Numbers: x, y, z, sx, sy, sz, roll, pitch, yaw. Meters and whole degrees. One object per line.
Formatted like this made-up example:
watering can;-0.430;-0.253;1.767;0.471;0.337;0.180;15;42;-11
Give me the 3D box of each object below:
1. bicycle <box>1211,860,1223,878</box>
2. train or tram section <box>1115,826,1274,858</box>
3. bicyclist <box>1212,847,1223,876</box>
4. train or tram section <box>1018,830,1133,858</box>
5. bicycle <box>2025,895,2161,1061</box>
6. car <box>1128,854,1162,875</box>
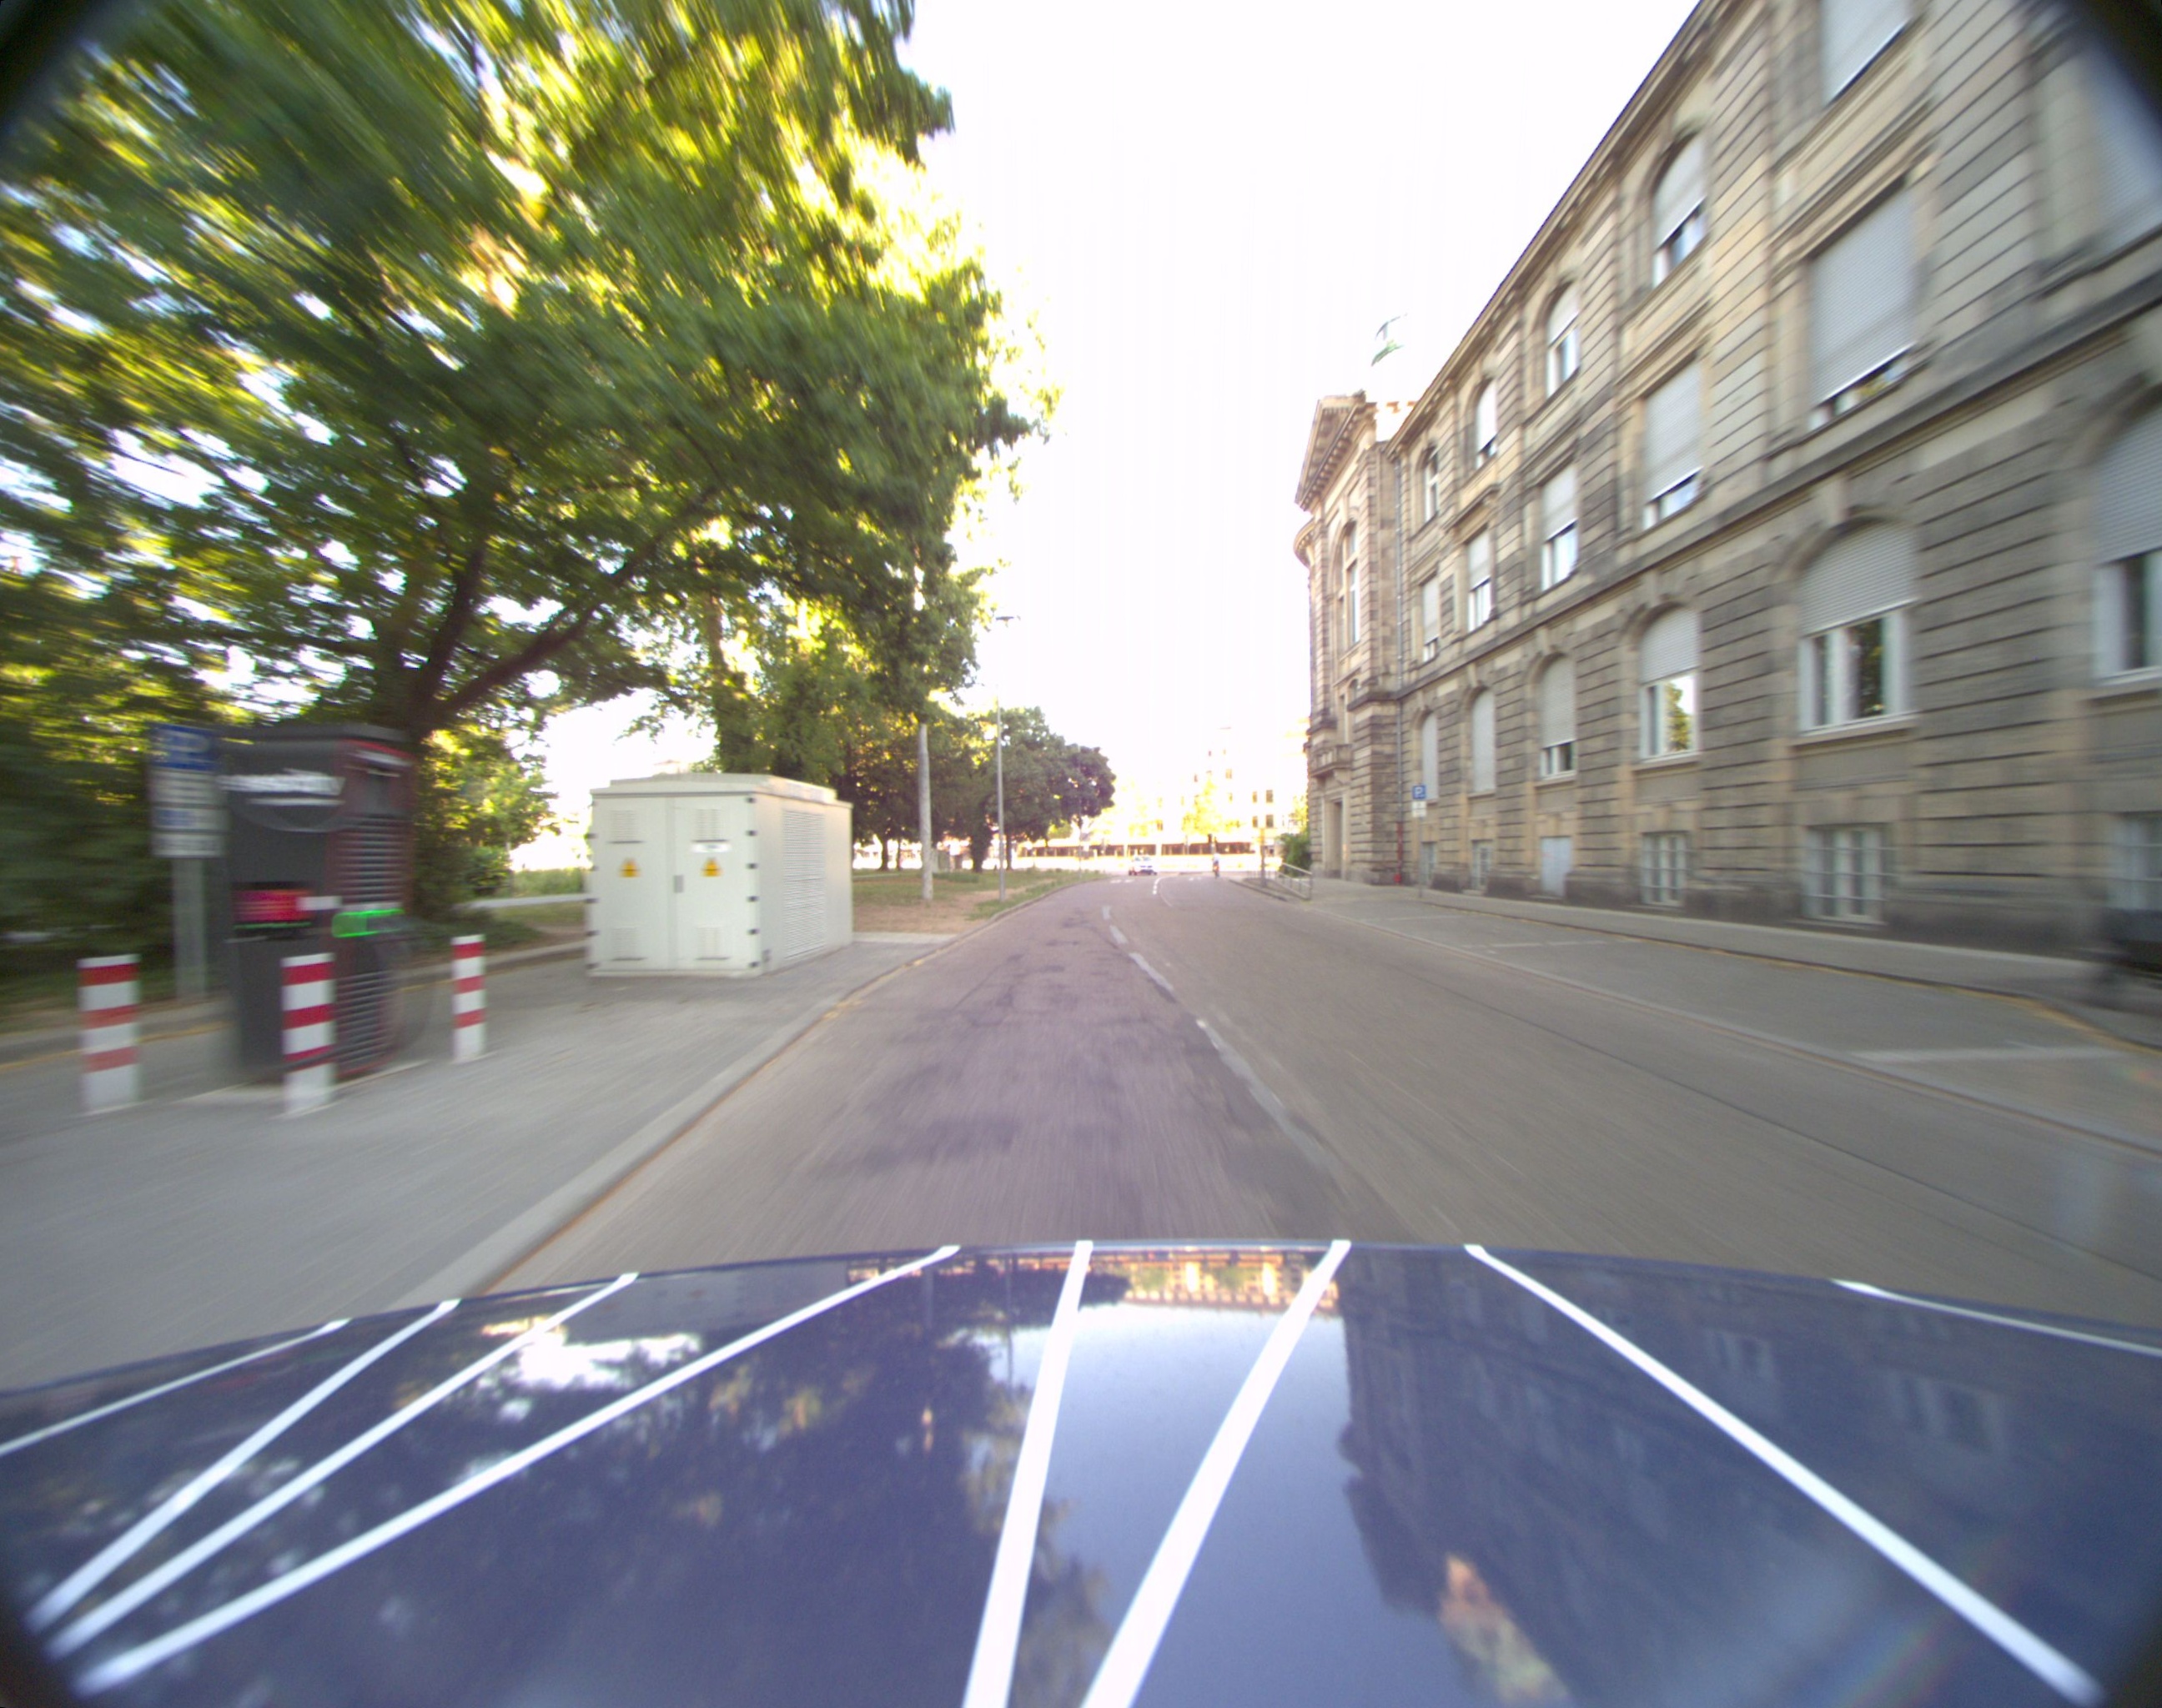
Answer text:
bicycle;8.585;0.943;47.826;0.663;1.064;2.155;0;0;12
train or tram section;13.053;-1.287;90.951;19.874;3.538;3.129;0;0;38
bicyclist;8.603;0.489;47.923;0.646;1.796;0.781;0;1;12
train or tram section;-1.082;-1.196;102.150;17.427;3.538;3.129;0;0;39
bicycle;8.063;0.906;5.186;0.854;1.095;1.983;-2;0;5
car;4.889;0.789;58.809;1.834;1.528;4.276;-1;0;-6
